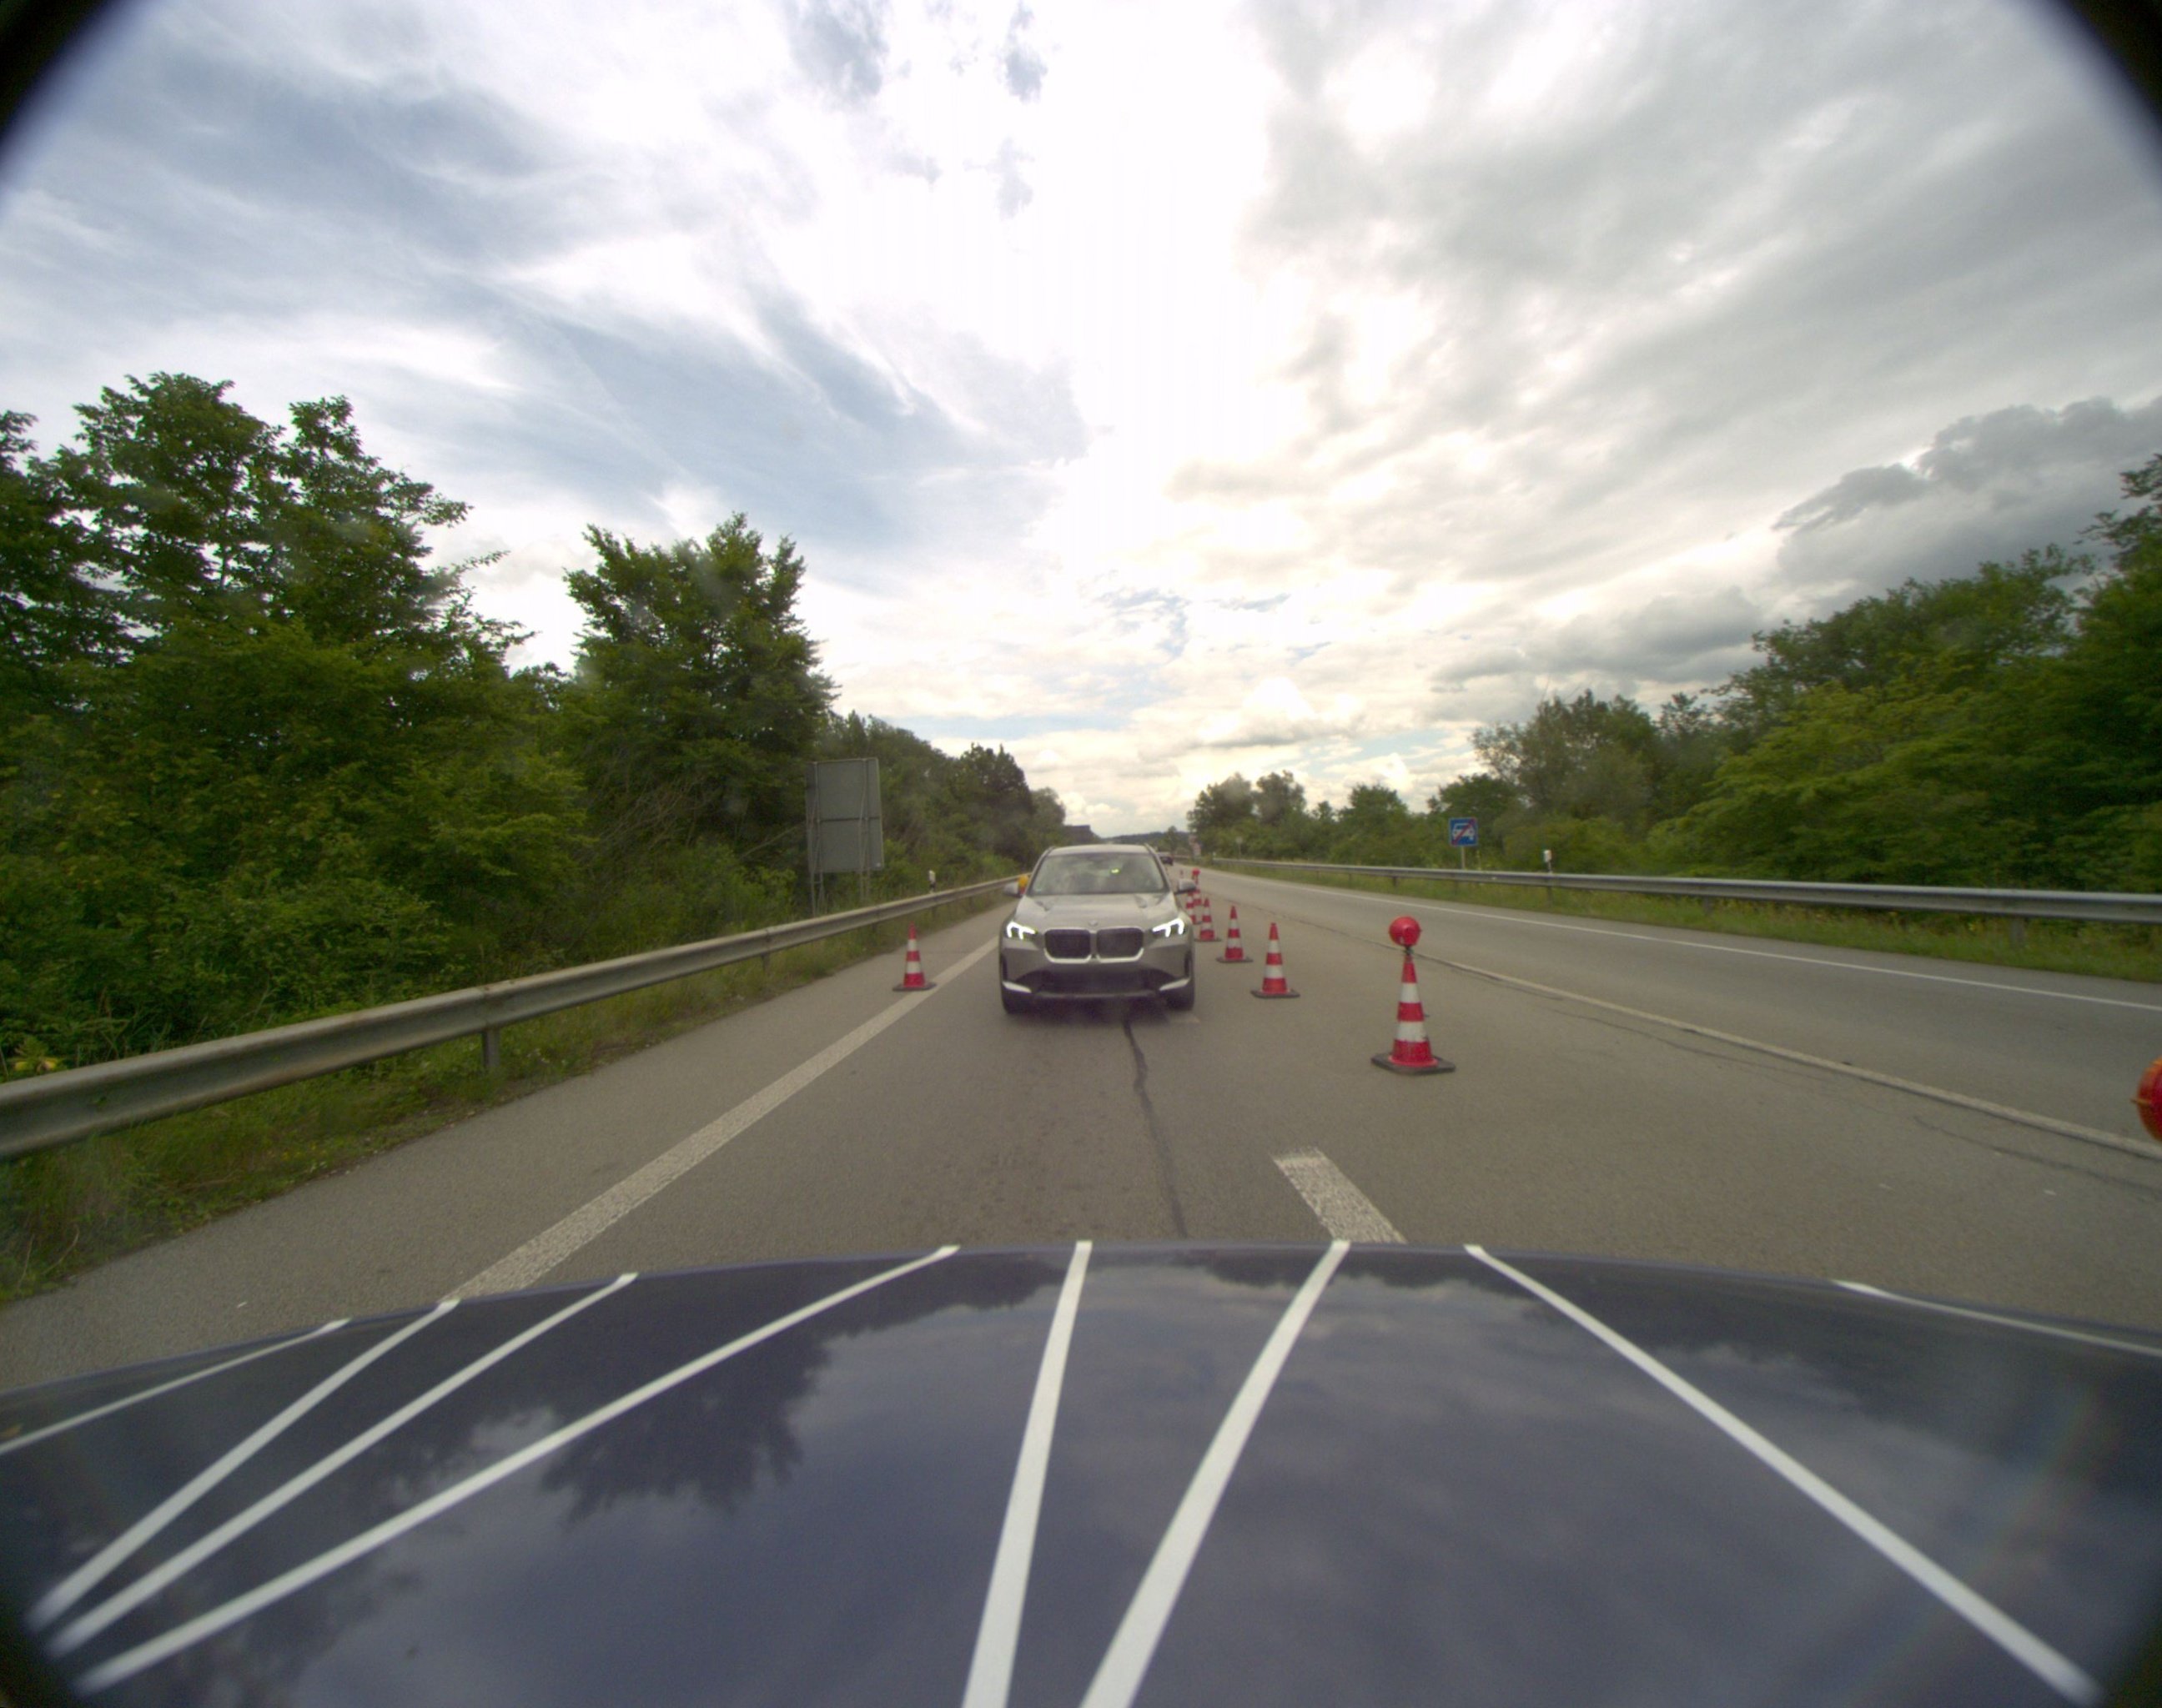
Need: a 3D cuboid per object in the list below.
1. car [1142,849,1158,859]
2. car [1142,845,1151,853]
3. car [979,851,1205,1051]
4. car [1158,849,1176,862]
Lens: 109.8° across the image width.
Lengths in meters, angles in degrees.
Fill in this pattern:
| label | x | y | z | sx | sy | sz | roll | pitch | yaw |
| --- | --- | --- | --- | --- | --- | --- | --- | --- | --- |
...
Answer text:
| label | x | y | z | sx | sy | sz | roll | pitch | yaw |
| --- | --- | --- | --- | --- | --- | --- | --- | --- | --- |
| car | 9.782 | -0.055 | 107.830 | 1.683 | 1.394 | 4.373 | -2 | 0 | -1 |
| car | 16.906 | -1.377 | 196.926 | 2.034 | 1.976 | 5.316 | -2 | 0 | 3 |
| car | 0.217 | 0.799 | 8.483 | 1.817 | 1.598 | 4.434 | -2 | 0 | 3 |
| car | 9.281 | 0.143 | 82.579 | 1.712 | 1.428 | 4.337 | -2 | 0 | 4 |
